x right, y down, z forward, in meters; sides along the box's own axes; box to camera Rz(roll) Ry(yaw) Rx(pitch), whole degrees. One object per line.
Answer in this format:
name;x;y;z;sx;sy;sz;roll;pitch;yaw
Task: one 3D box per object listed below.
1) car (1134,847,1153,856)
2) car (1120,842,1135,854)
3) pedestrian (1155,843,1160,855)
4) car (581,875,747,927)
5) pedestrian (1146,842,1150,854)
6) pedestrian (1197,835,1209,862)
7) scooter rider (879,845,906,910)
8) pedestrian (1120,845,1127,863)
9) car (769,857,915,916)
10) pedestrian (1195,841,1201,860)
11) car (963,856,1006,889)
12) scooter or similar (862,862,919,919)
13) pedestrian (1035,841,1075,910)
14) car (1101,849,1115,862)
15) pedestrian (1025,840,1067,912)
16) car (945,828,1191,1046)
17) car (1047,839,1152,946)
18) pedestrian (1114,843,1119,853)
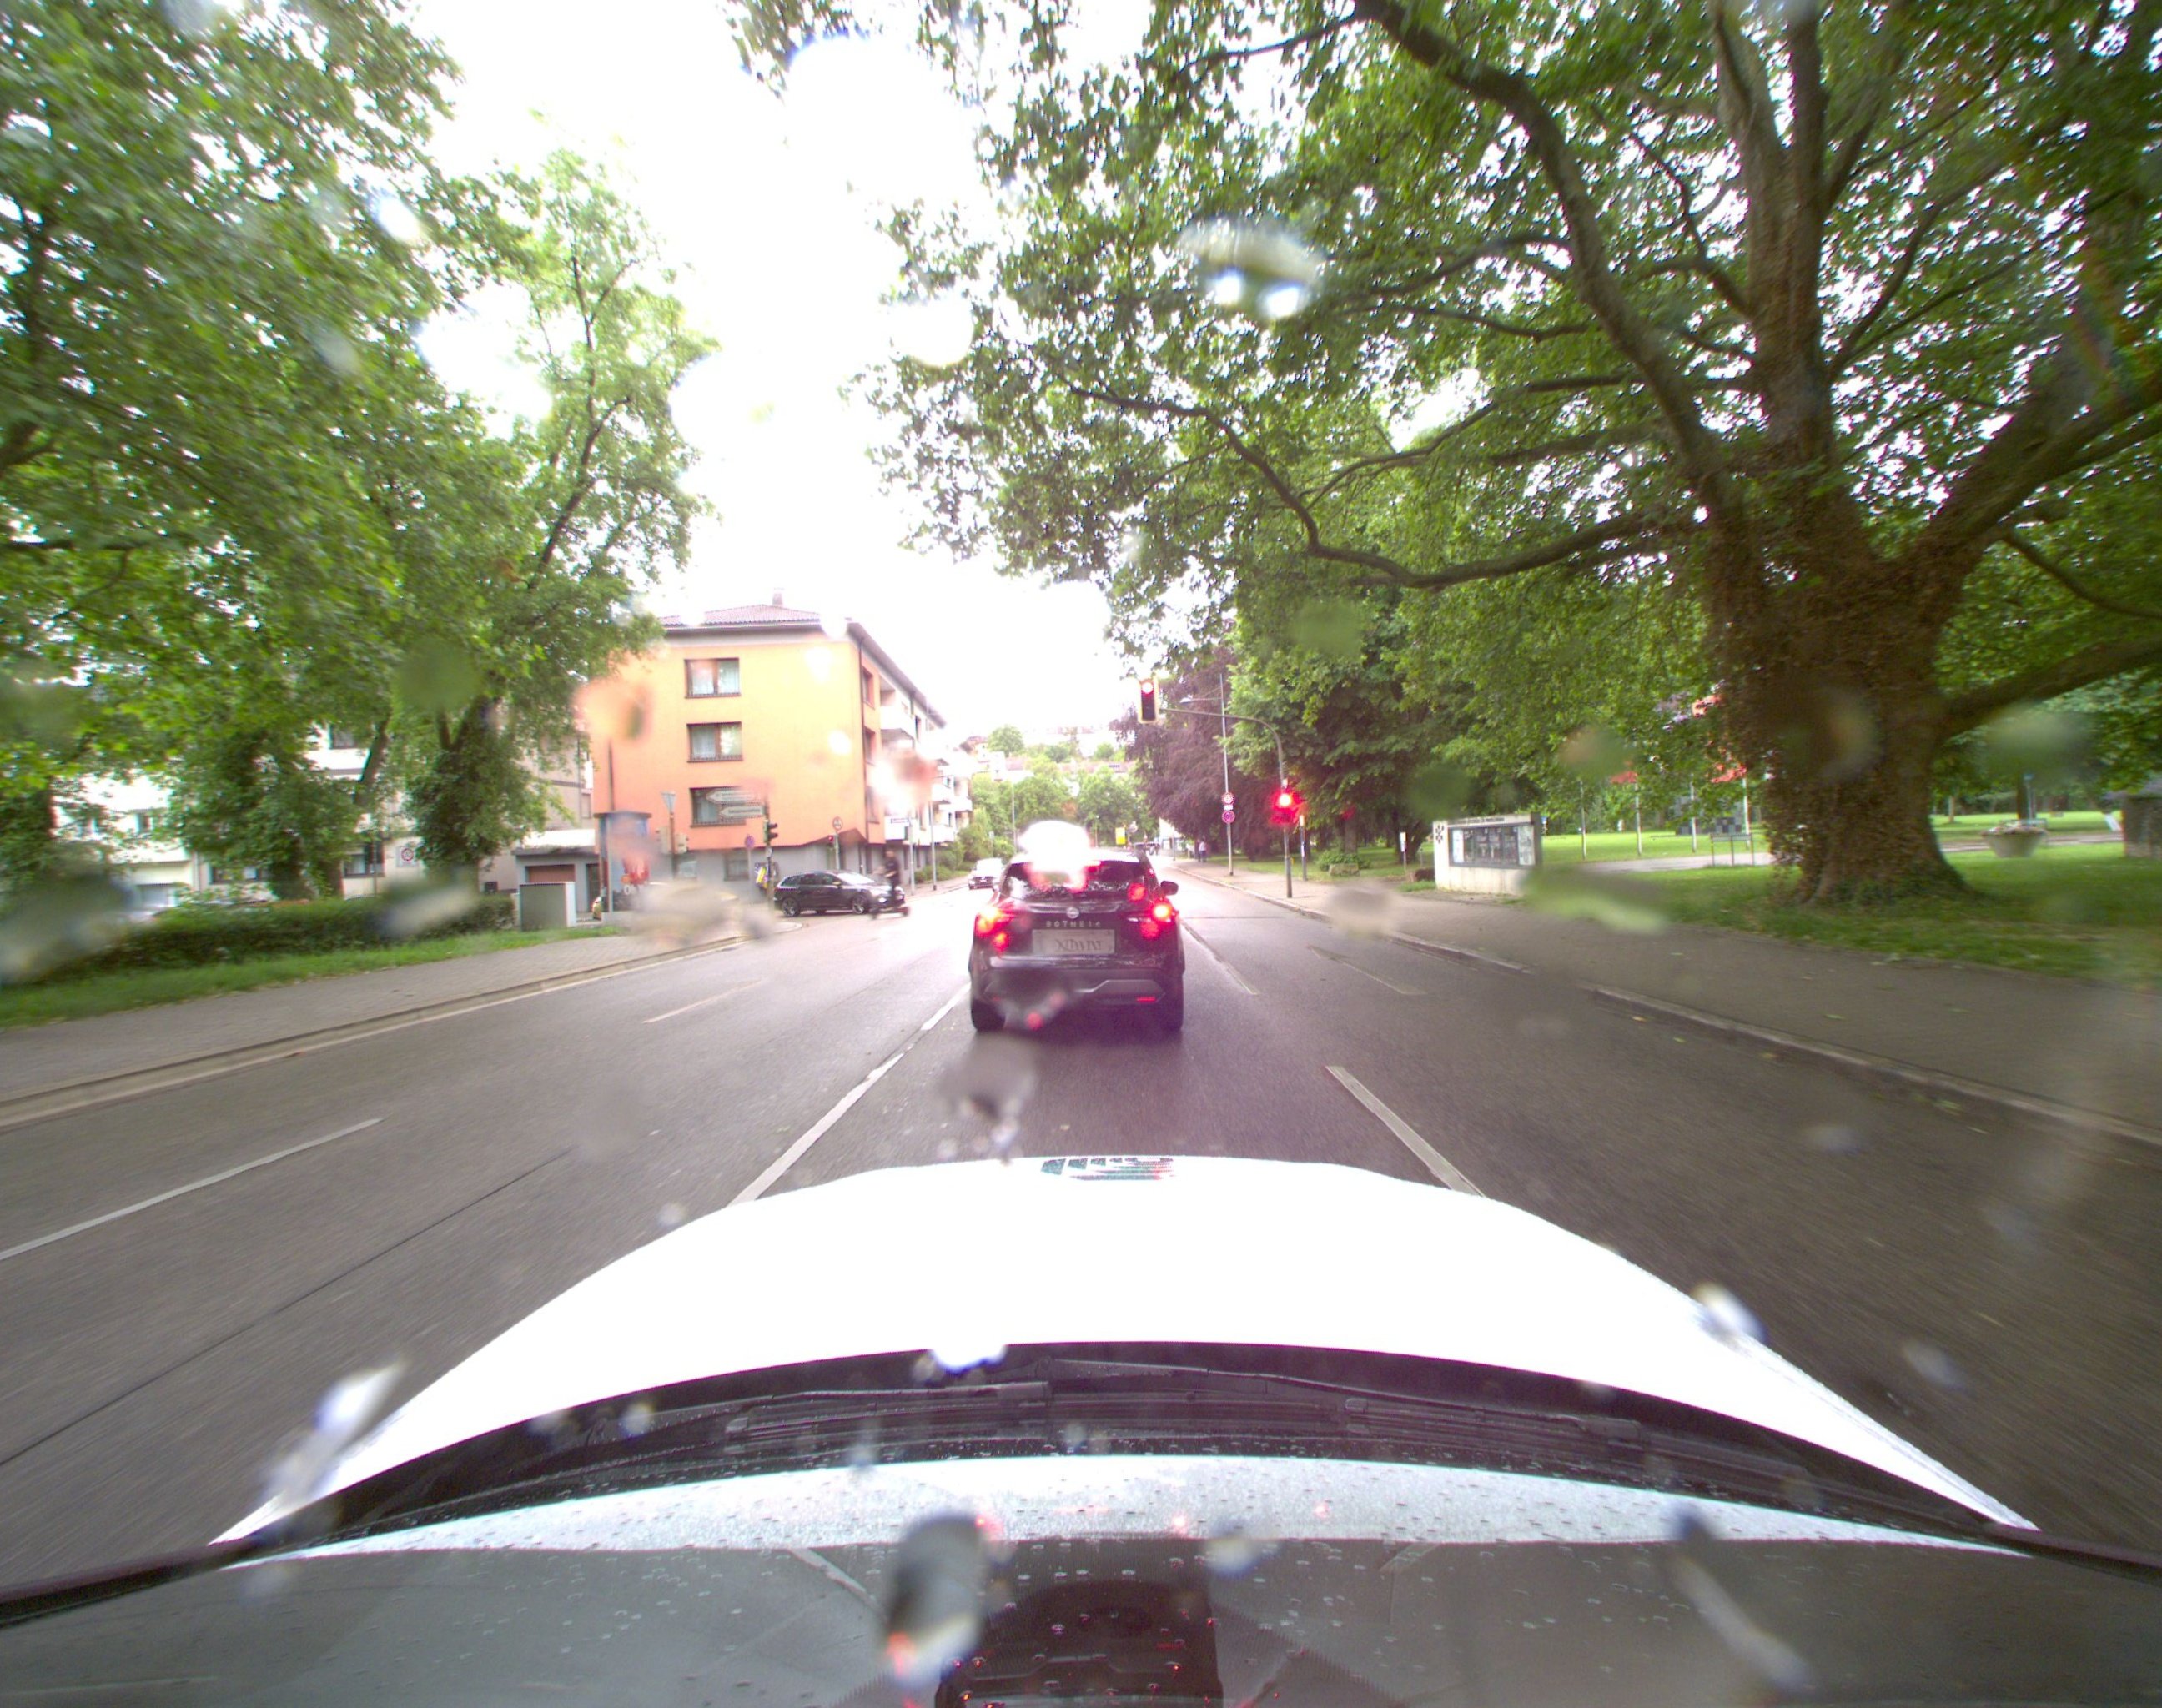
car;13.669;-0.534;177.991;3.956;1.532;1.634;-3;0;-11
car;7.222;-0.916;126.556;1.983;1.735;4.007;0;0;7
pedestrian;12.048;-0.804;128.138;0.507;1.802;0.619;-3;0;0
car;-14.051;1.570;27.603;4.616;1.403;1.833;-4;0;3
pedestrian;10.546;-0.901;128.146;0.506;1.802;0.620;-3;0;1
pedestrian;9.323;-0.452;62.350;0.722;2.013;0.852;-3;0;2
scooter rider;-5.259;0.649;22.716;0.643;1.766;0.732;-2;-1;-11
pedestrian;4.497;-0.008;86.949;0.615;1.802;0.510;-3;0;1
car;-7.731;1.042;26.446;4.091;1.625;1.860;-3;0;17
pedestrian;9.629;-0.267;66.884;0.388;1.502;0.559;-3;0;2
car;-4.956;0.914;42.311;1.791;1.533;3.865;-3;0;-2
scooter or similar;-5.310;1.013;22.794;1.394;1.445;0.814;-4;0;-9
pedestrian;-0.725;0.583;22.497;1.035;1.876;0.656;-1;-1;-9
car;3.283;0.150;99.907;1.628;1.532;3.969;-3;0;2
pedestrian;-0.929;0.580;21.750;1.035;1.876;0.656;-1;-1;-9
car;-0.035;0.648;8.397;1.906;1.680;4.002;-1;0;2
car;0.374;0.659;15.791;1.692;1.745;3.642;-3;0;2
pedestrian;6.009;-0.958;136.447;0.503;1.673;0.663;-3;0;29
